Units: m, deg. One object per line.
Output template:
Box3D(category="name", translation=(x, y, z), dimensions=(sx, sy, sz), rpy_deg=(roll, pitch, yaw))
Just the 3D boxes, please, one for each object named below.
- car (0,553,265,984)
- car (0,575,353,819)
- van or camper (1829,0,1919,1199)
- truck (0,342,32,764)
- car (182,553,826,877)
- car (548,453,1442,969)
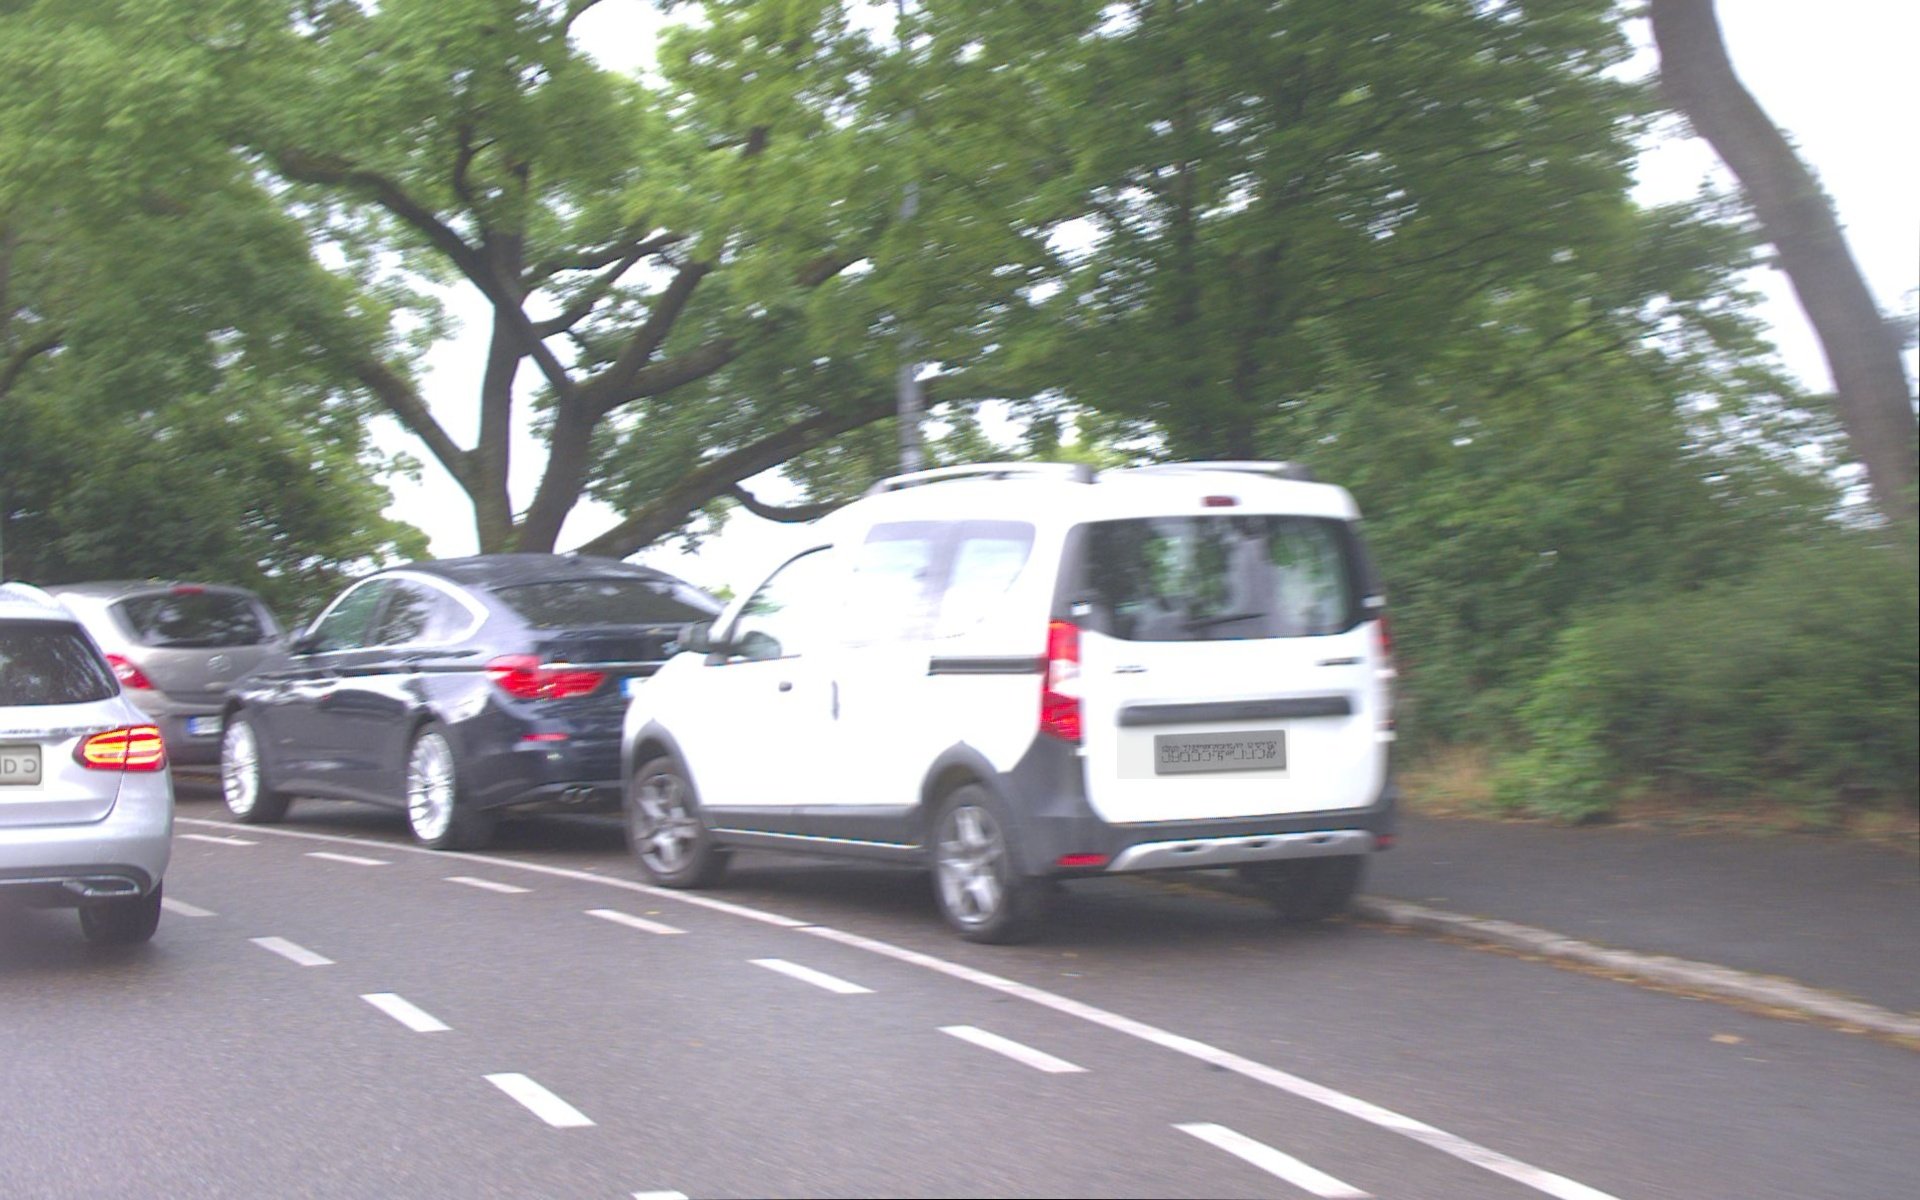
Box3D(category="car", translation=(-4.485, 0.638, 14.368), dimensions=(1.982, 1.548, 4.298), rpy_deg=(-1, 0, -27))
Box3D(category="car", translation=(-6.072, 0.643, 24.217), dimensions=(1.734, 1.498, 4.134), rpy_deg=(-3, 1, -38))
Box3D(category="van or camper", translation=(3.223, 0.117, 4.053), dimensions=(2.066, 2.572, 5.889), rpy_deg=(-3, 1, -8))
Box3D(category="truck", translation=(-11.992, -0.303, 30.289), dimensions=(8.925, 3.459, 2.776), rpy_deg=(-1, 1, 41))
Box3D(category="car", translation=(-2.763, 0.578, 19.672), dimensions=(1.860, 1.537, 4.895), rpy_deg=(-3, 1, -30))
Box3D(category="car", translation=(-0.040, 0.395, 14.750), dimensions=(1.747, 1.815, 4.423), rpy_deg=(-3, 1, -30))
